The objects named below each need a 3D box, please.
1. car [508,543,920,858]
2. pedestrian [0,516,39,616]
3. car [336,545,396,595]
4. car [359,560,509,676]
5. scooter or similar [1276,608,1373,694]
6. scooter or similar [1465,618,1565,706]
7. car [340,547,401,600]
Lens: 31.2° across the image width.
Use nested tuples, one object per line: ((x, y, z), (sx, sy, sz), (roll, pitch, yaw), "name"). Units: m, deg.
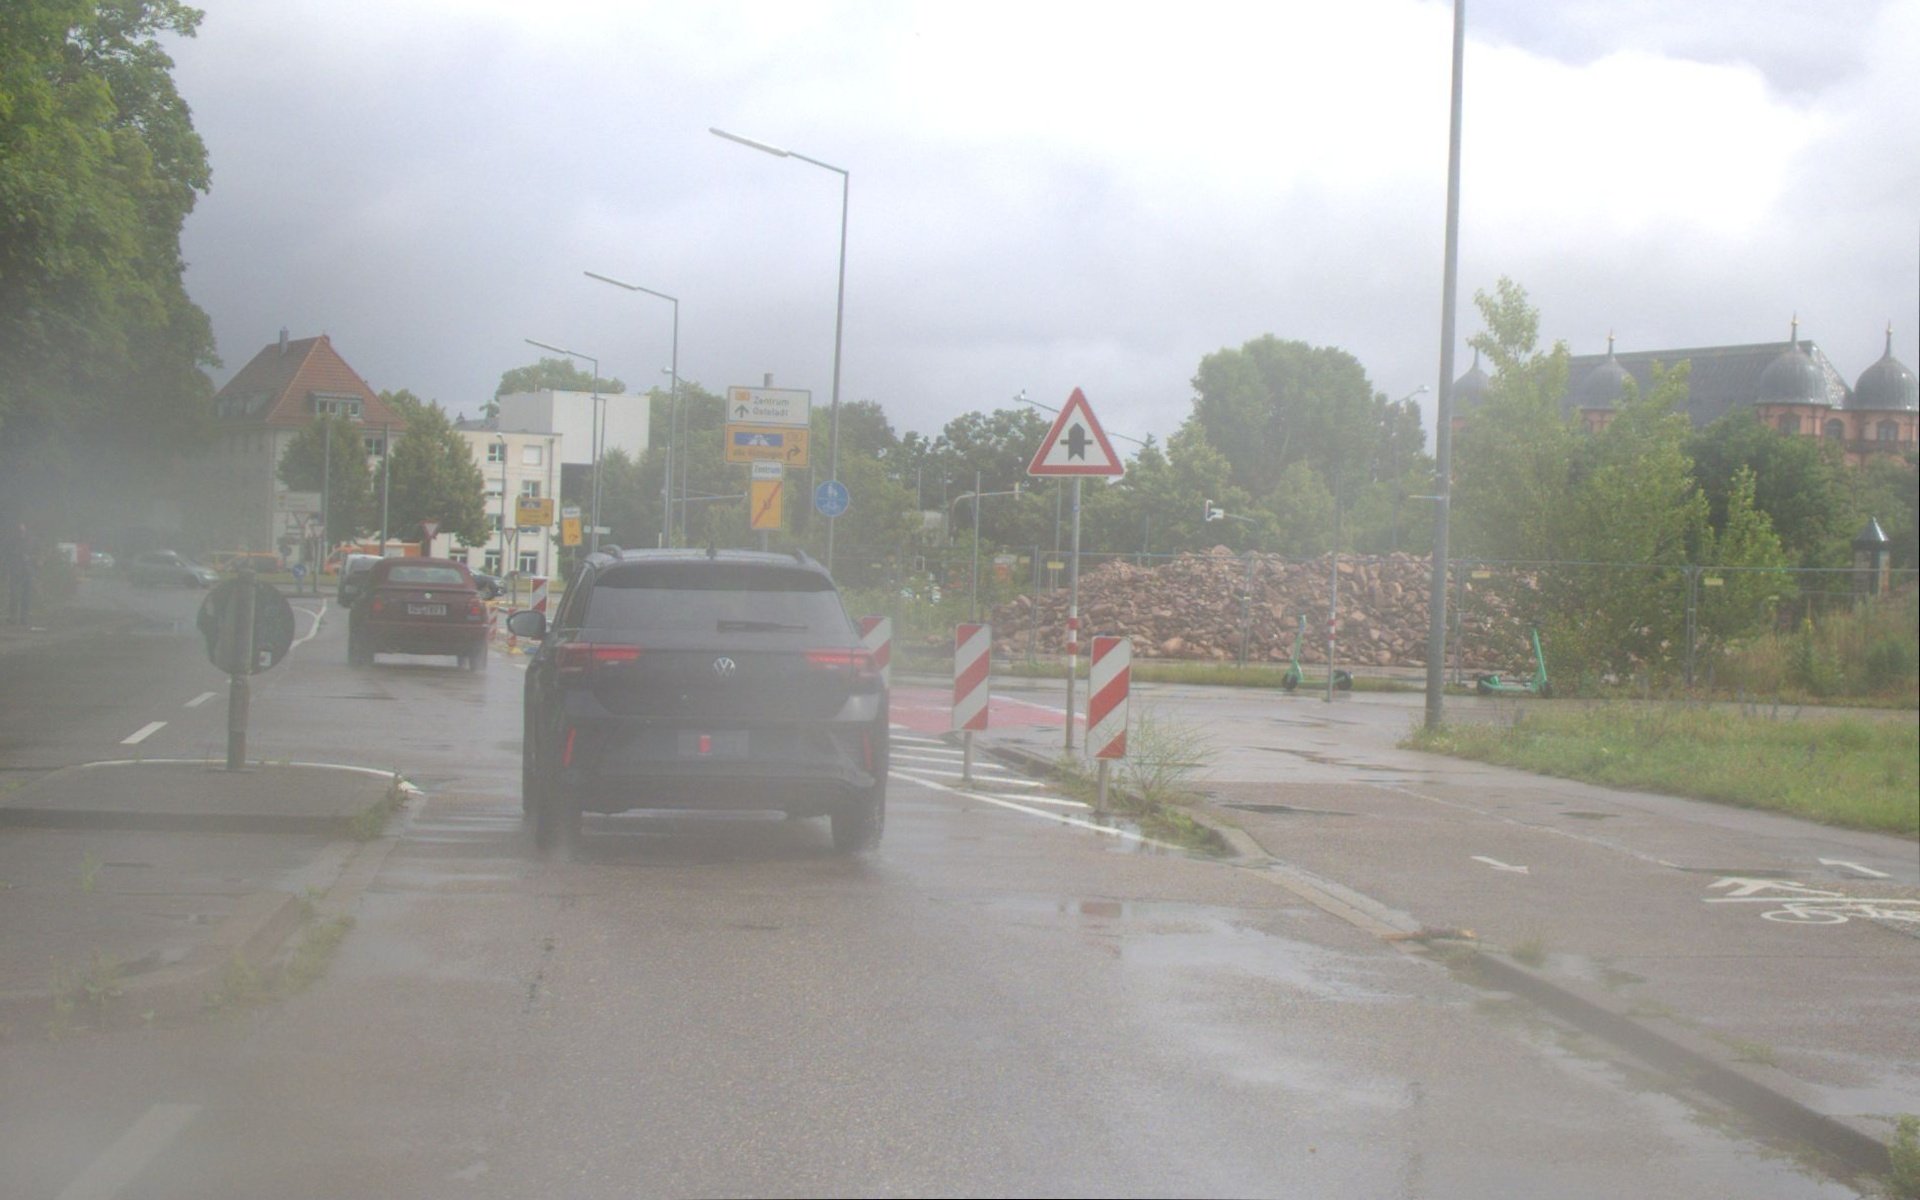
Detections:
((-1.443, 0.471, 18.635), (1.986, 1.515, 4.001), (0, 0, -8), "car")
((-16.548, -0.606, 60.413), (0.524, 1.695, 0.566), (4, 2, -10), "pedestrian")
((-21.079, -1.060, 121.865), (1.995, 1.697, 4.017), (2, 0, -11), "car")
((-6.888, 0.241, 44.889), (1.841, 1.437, 4.001), (0, 0, -9), "car")
((5.495, 0.767, 51.841), (1.282, 1.183, 0.502), (6, 2, 31), "scooter or similar")
((8.270, 0.916, 51.202), (1.282, 1.183, 0.502), (6, 2, 31), "scooter or similar")
((-19.125, -0.860, 111.369), (1.840, 1.635, 4.017), (2, 0, -11), "car")
